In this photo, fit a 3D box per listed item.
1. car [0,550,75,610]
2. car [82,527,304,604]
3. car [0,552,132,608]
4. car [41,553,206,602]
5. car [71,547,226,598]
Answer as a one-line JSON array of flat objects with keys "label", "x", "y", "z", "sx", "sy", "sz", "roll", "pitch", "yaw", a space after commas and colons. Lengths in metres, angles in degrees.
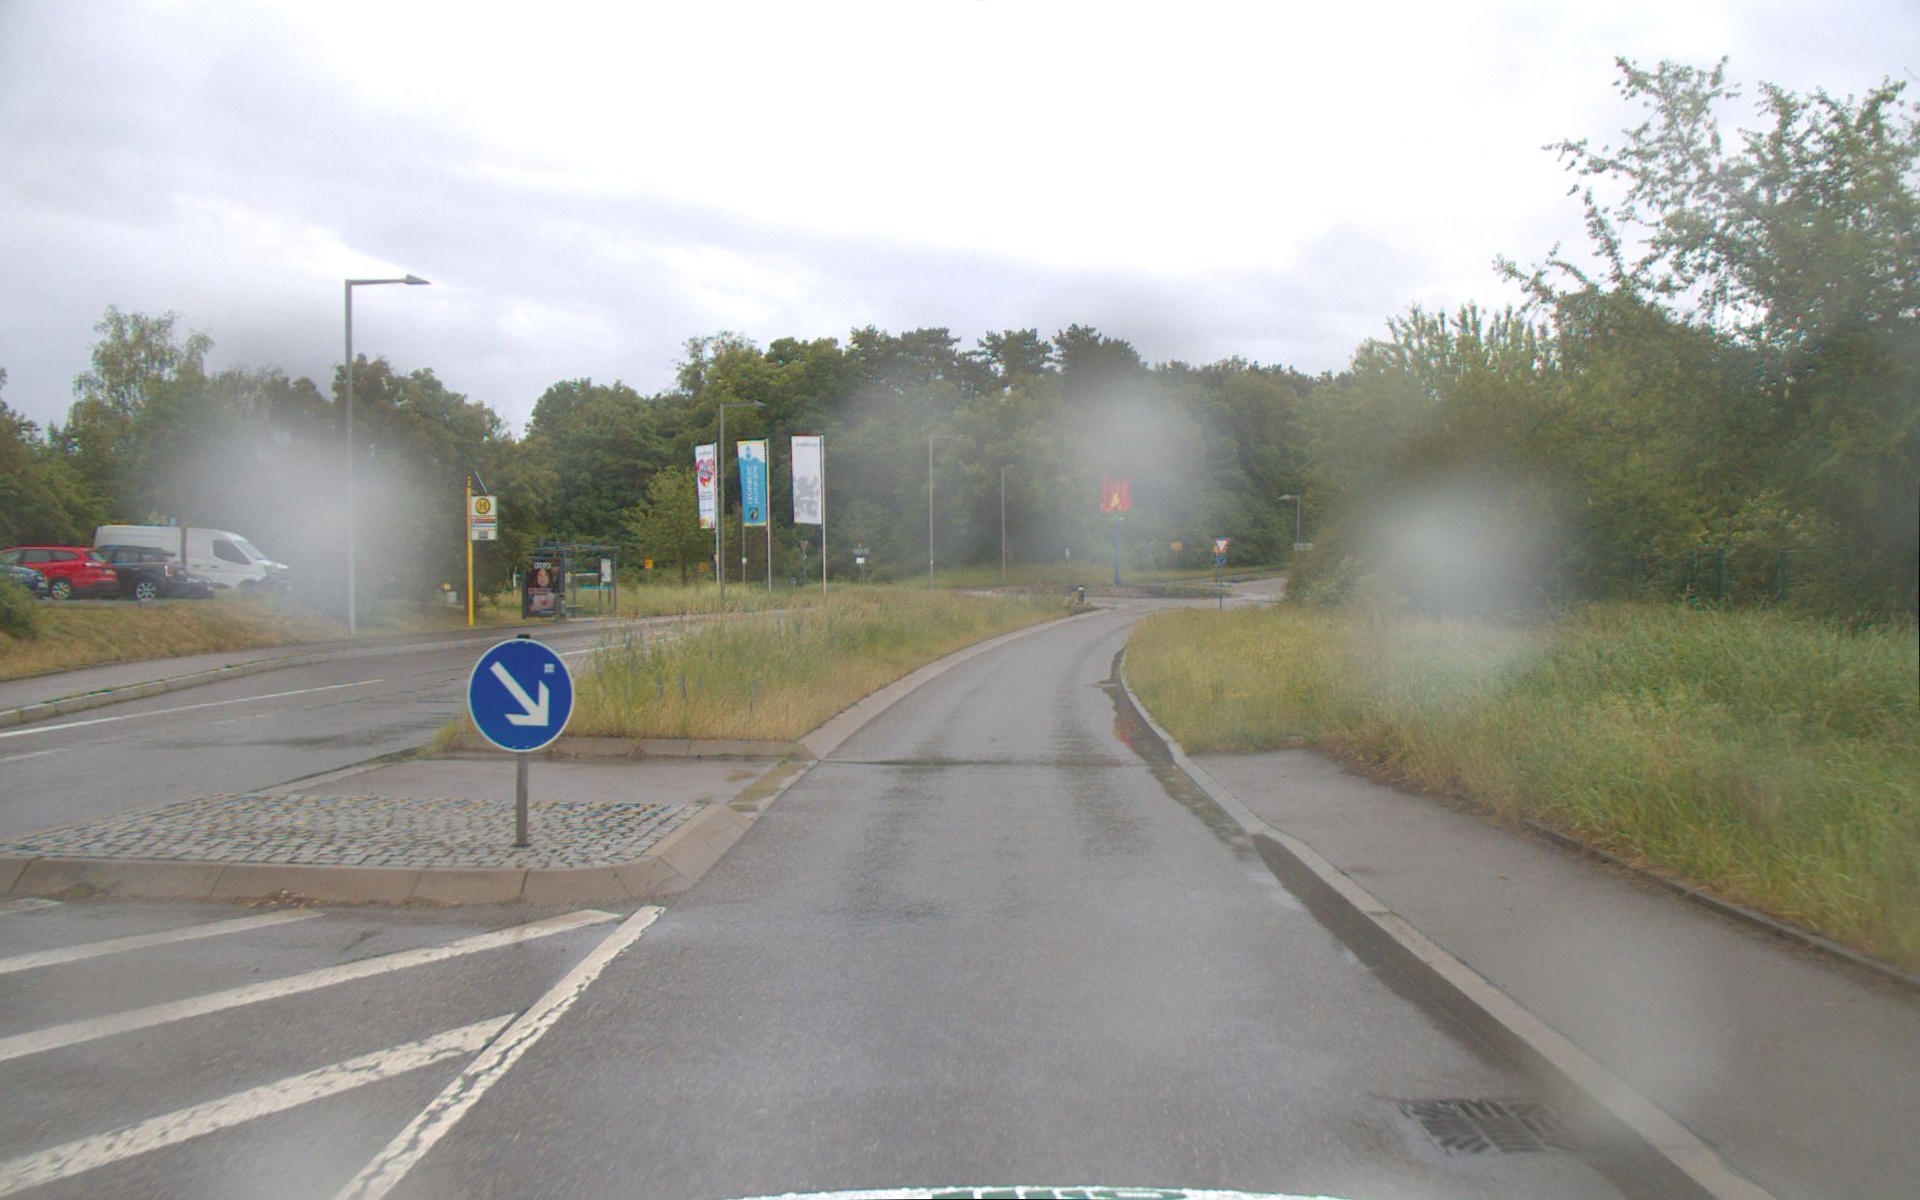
[{"label": "car", "x": -23.965, "y": -0.540, "z": 40.137, "sx": 3.905, "sy": 1.388, "sz": 1.900, "roll": 2, "pitch": 0, "yaw": 1}, {"label": "car", "x": -25.992, "y": -1.148, "z": 56.249, "sx": 6.427, "sy": 2.439, "sz": 2.137, "roll": 1, "pitch": -1, "yaw": -5}, {"label": "car", "x": -25.113, "y": -0.542, "z": 45.314, "sx": 3.905, "sy": 1.495, "sz": 1.848, "roll": 0, "pitch": 0, "yaw": -1}, {"label": "car", "x": -24.501, "y": -0.654, "z": 48.541, "sx": 3.904, "sy": 1.388, "sz": 1.848, "roll": 0, "pitch": 0, "yaw": 1}, {"label": "car", "x": -24.987, "y": -0.838, "z": 51.006, "sx": 3.905, "sy": 1.388, "sz": 1.653, "roll": 2, "pitch": 0, "yaw": 1}]
